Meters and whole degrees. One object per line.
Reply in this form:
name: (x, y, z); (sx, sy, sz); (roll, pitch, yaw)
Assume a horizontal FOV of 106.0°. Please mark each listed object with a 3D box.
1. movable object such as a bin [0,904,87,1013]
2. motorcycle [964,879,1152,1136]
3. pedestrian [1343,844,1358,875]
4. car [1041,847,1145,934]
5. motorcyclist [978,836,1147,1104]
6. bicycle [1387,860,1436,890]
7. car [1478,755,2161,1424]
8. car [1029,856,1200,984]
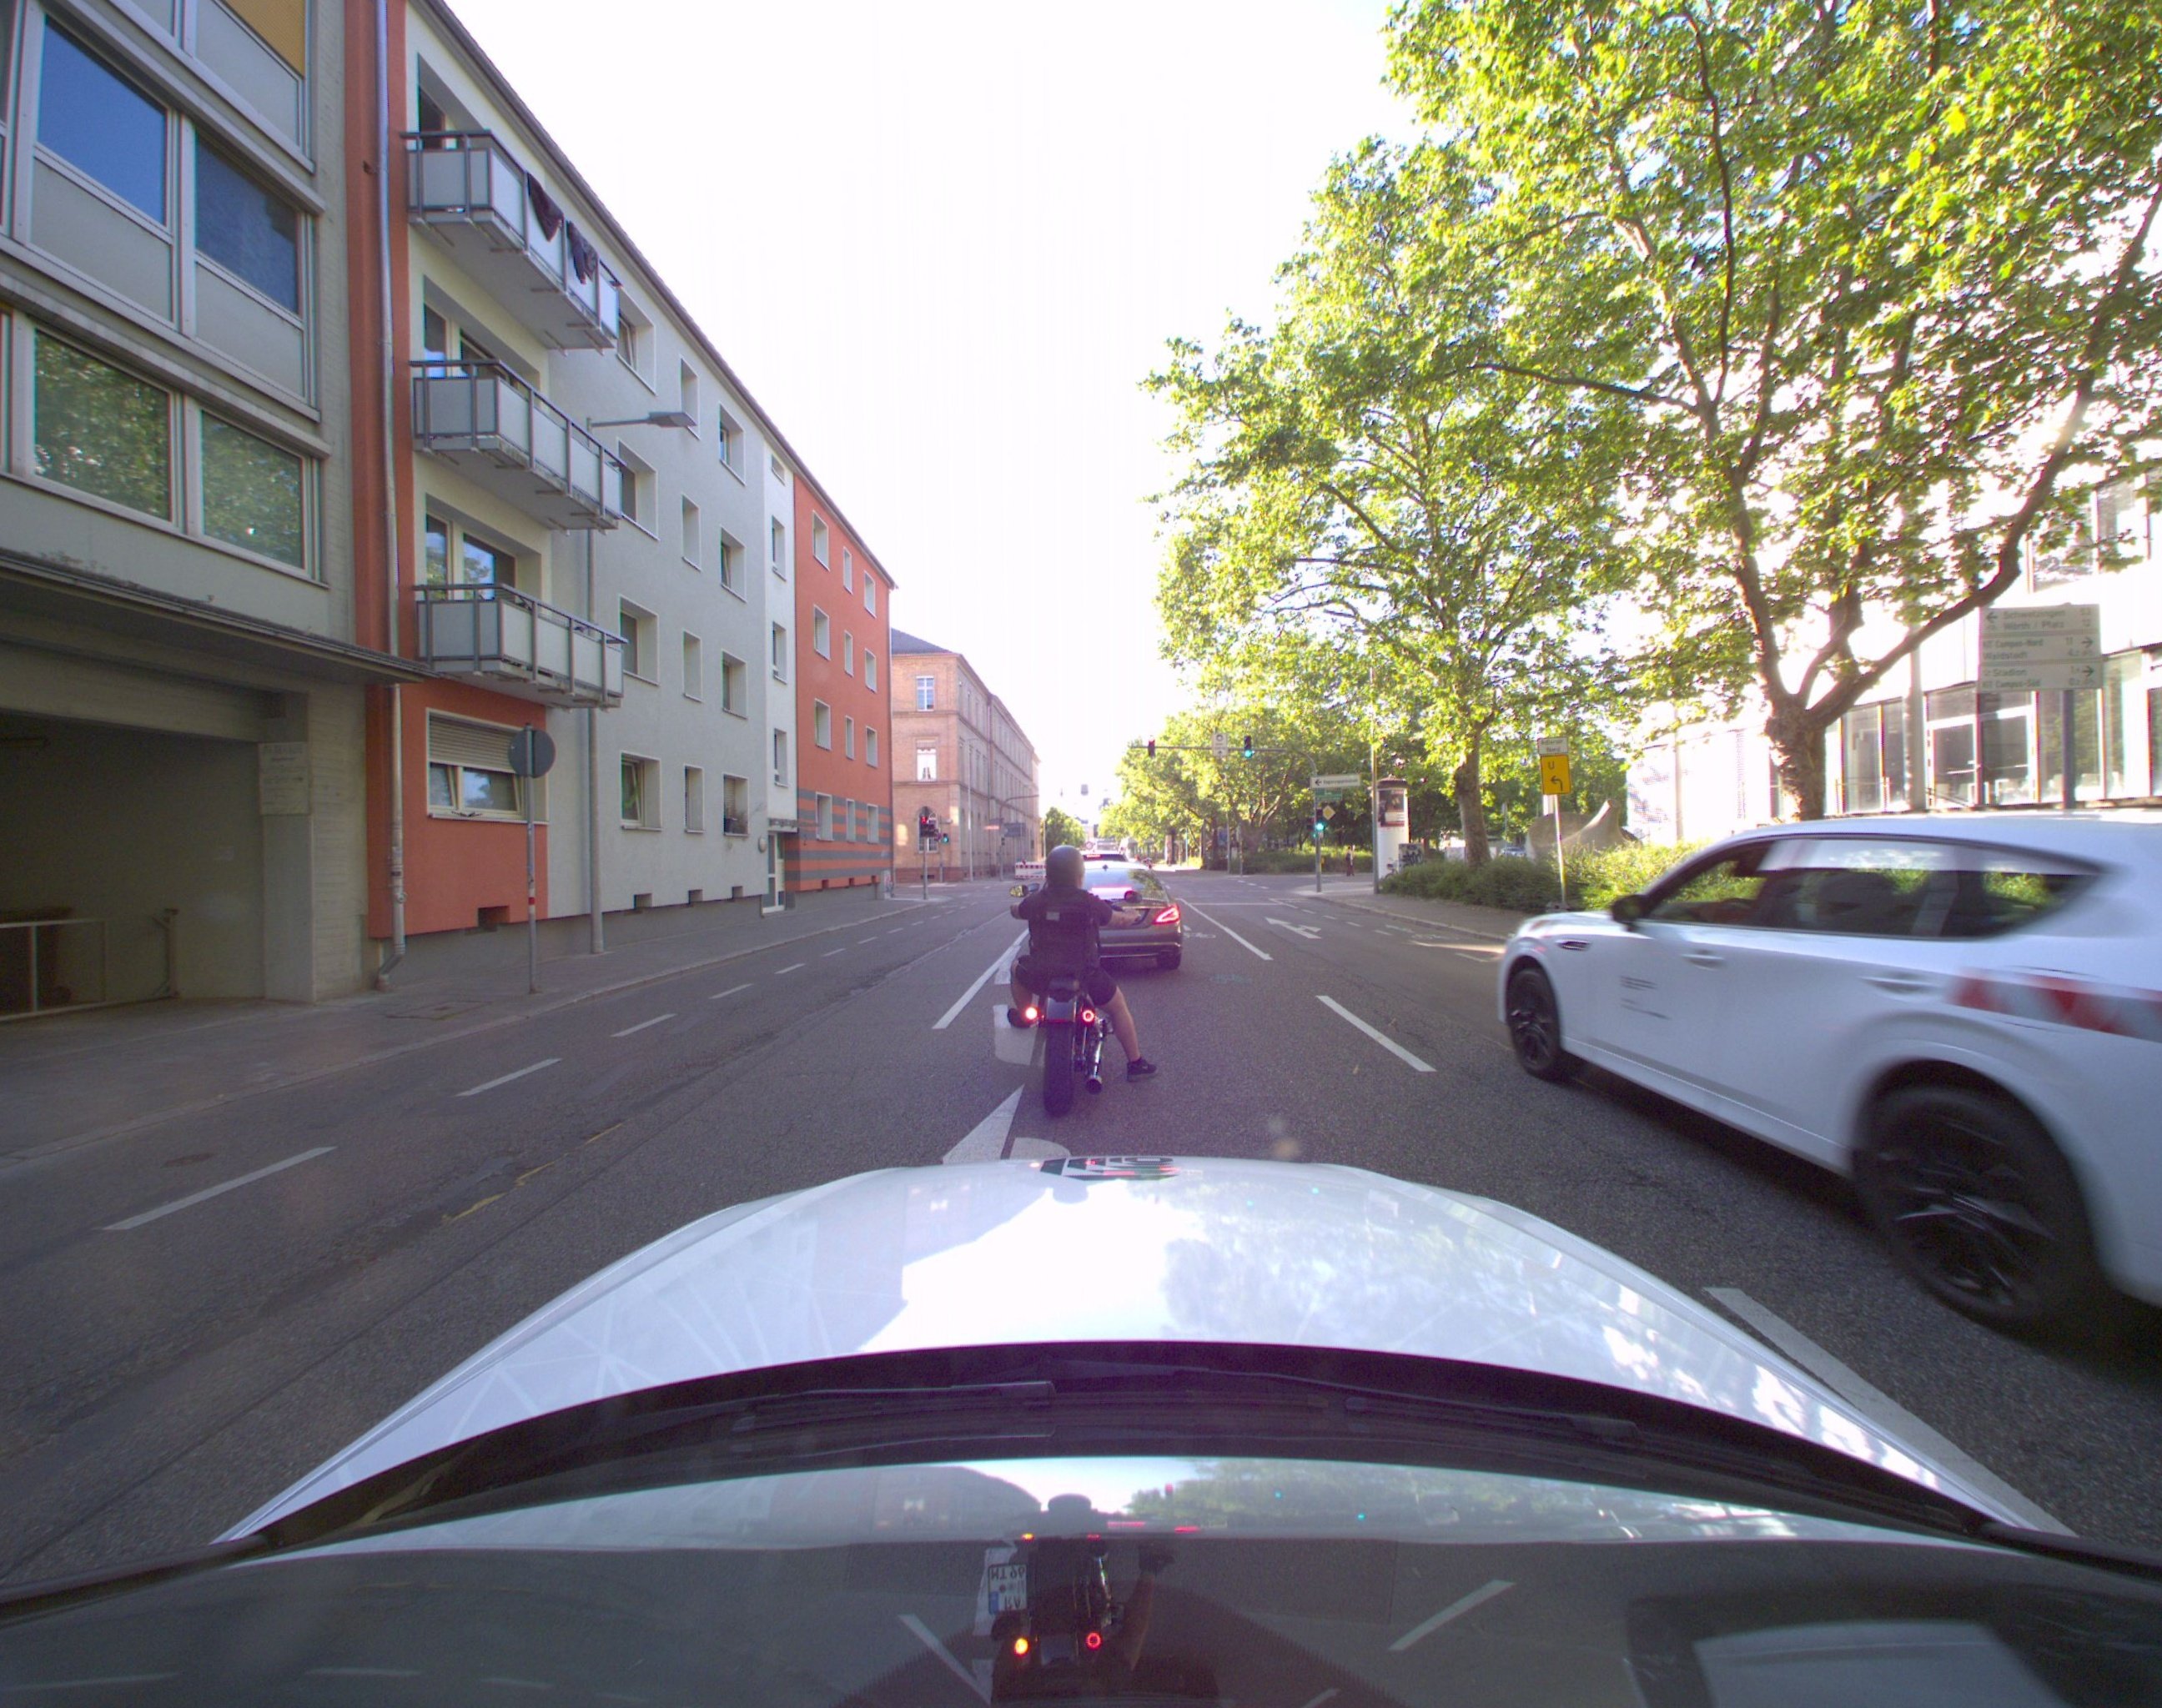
movable object such as a bin: (-11.291, 1.091, 8.645); (0.639, 1.065, 0.675); (-1, 0, 1)
motorcycle: (-0.086, 0.855, 5.542); (0.977, 1.275, 2.408); (-1, 0, 2)
pedestrian: (15.736, 0.309, 47.528); (0.671, 1.772, 0.621); (-1, -1, 31)
car: (0.287, 0.724, 17.672); (1.986, 1.665, 4.001); (0, -1, 2)
motorcyclist: (-0.091, 0.691, 5.481); (0.977, 1.578, 1.249); (-1, 0, 1)
bicycle: (11.075, 0.710, 27.323); (1.475, 0.980, 0.300); (0, -1, 7)
car: (3.841, 0.596, 3.900); (1.935, 1.708, 4.487); (0, 0, 3)
car: (0.261, 0.771, 11.745); (1.867, 1.444, 4.421); (-1, 0, -6)
